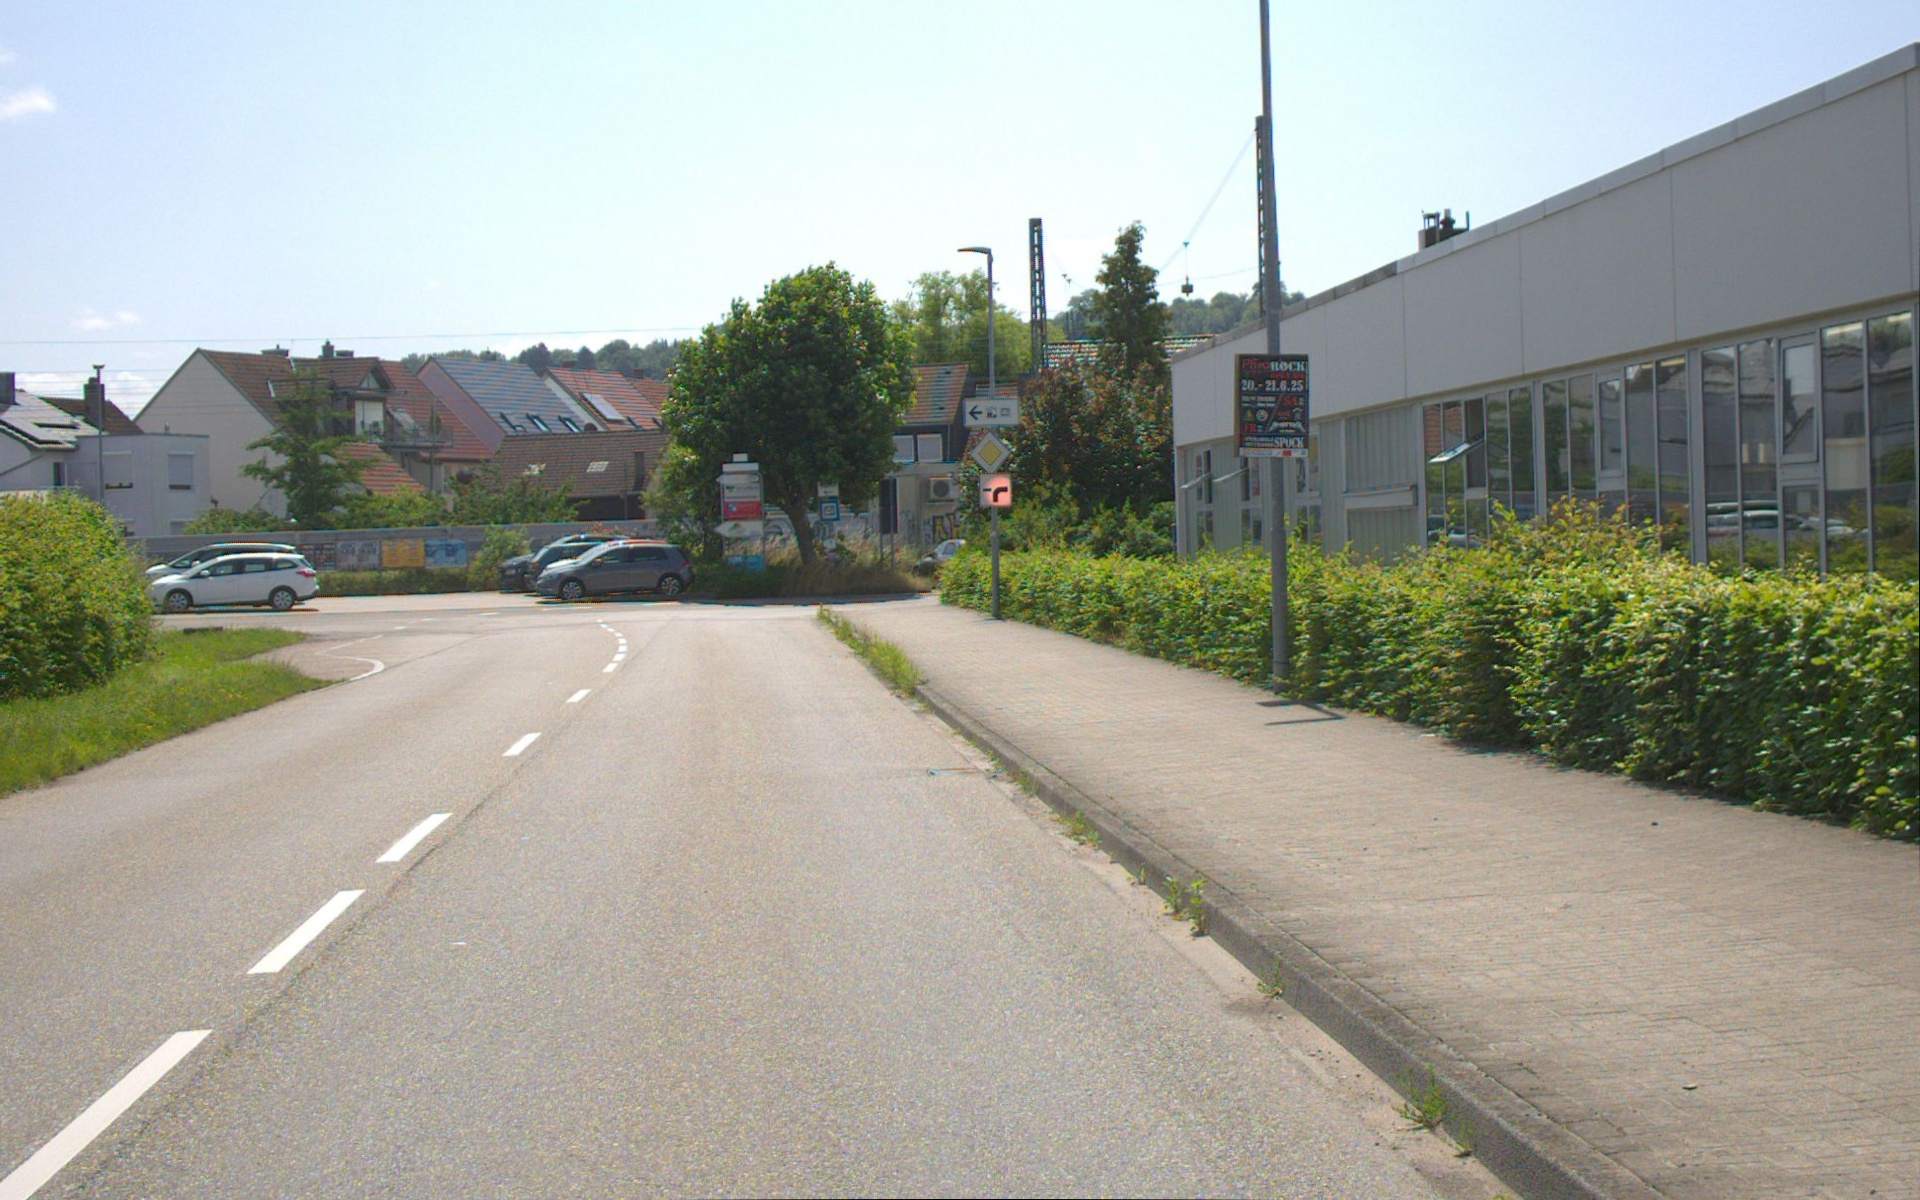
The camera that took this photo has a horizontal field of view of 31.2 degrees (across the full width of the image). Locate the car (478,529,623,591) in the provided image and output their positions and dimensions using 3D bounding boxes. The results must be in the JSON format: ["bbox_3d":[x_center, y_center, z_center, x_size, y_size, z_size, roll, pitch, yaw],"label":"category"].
[{"bbox_3d":[-11.867,-1.144,99.566,3.986,1.724,1.771,0,0,-13],"label":"car"}]

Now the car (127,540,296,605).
[{"bbox_3d":[-20.521,-0.771,94.270,4.450,1.685,2.001,-1,2,-12],"label":"car"}]

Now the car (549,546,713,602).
[{"bbox_3d":[-8.836,-0.700,92.304,4.186,1.458,1.665,-1,0,-12],"label":"car"}]

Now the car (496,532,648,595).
[{"bbox_3d":[-10.881,-1.025,96.395,3.986,1.652,2.001,-2,1,-13],"label":"car"}]

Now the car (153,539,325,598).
[{"bbox_3d":[-18.830,-0.812,89.723,4.281,1.472,1.828,0,0,-16],"label":"car"}]
